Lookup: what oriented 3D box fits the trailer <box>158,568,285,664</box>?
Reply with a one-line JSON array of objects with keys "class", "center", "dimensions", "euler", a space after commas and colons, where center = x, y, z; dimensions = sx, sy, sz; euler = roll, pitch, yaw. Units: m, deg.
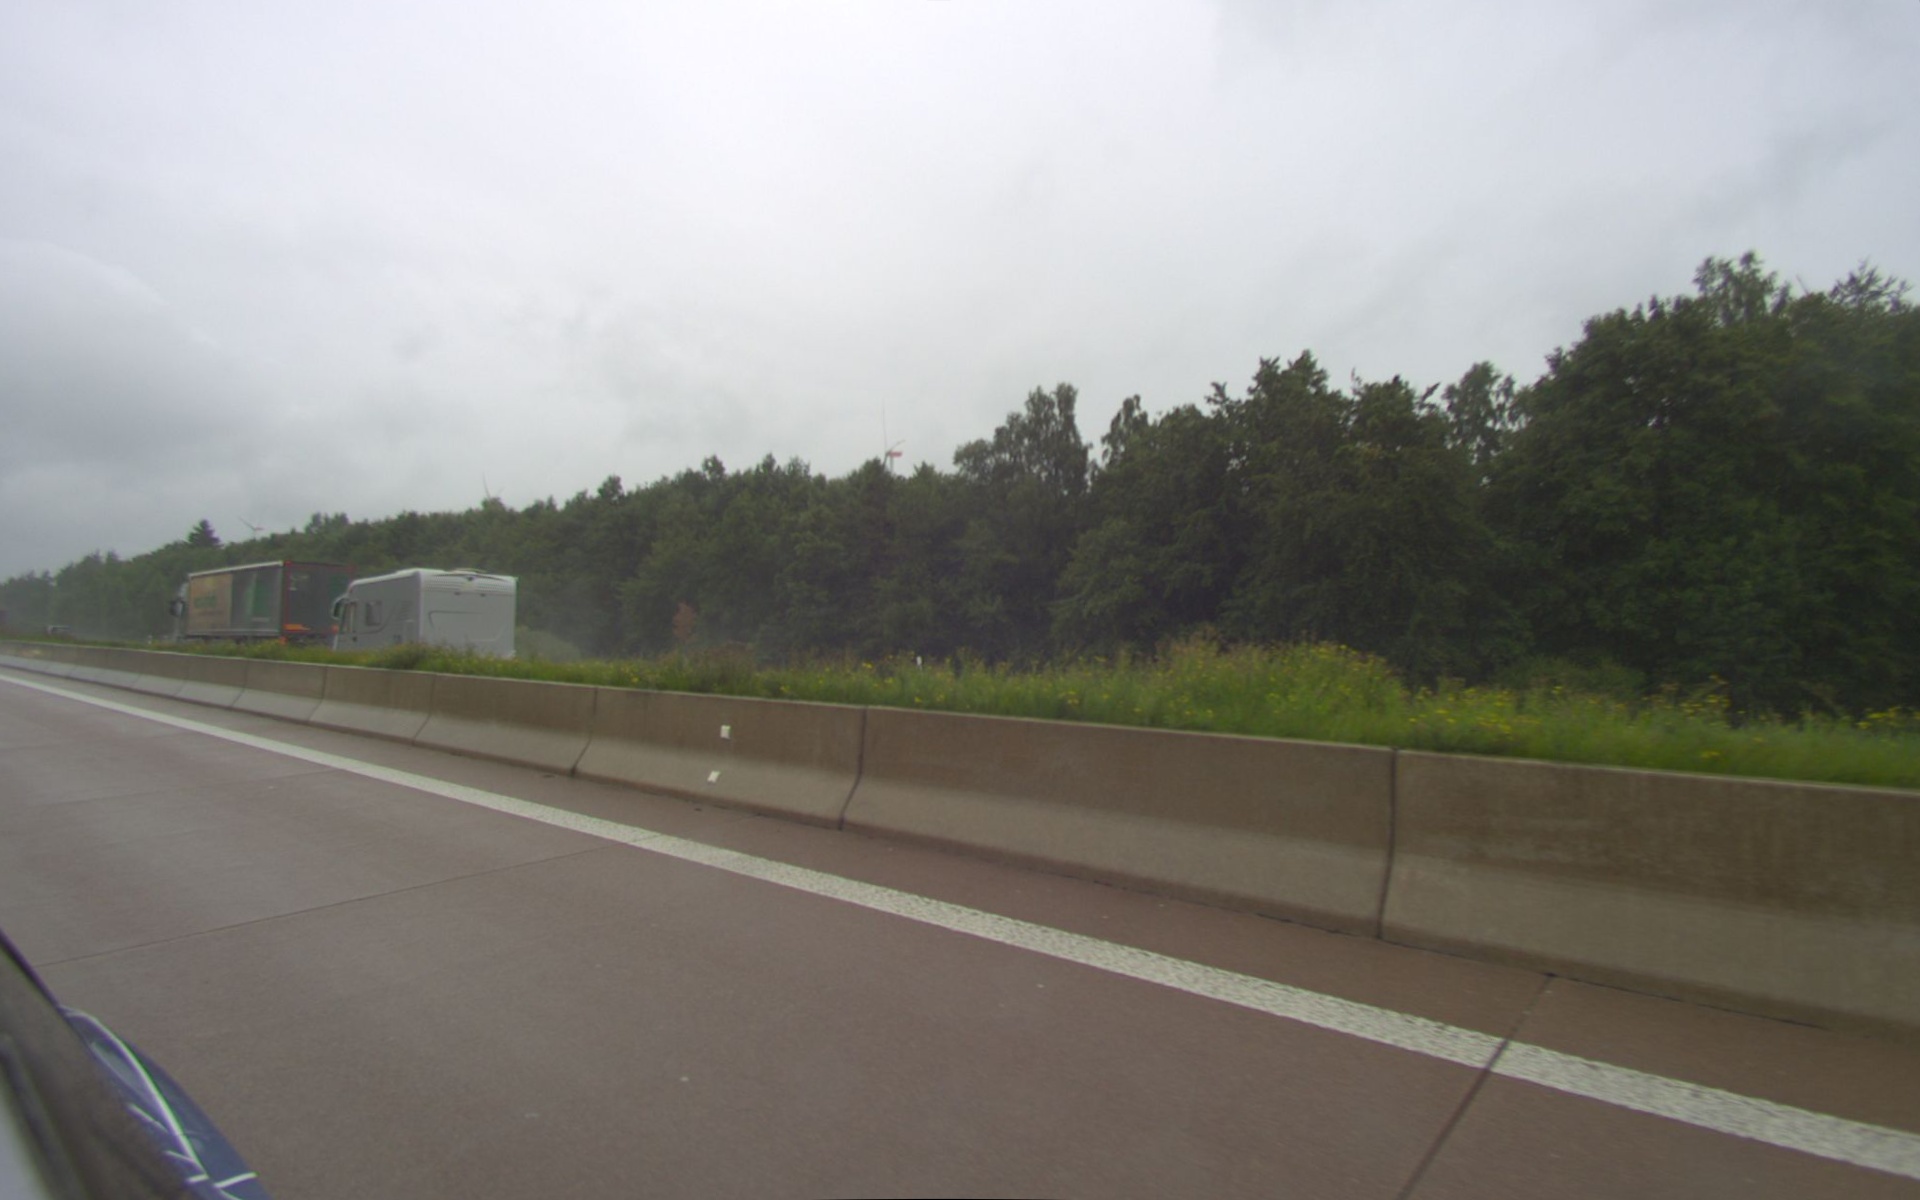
[{"class": "trailer", "center": [-46.841, 1.039, 63.886], "dimensions": [14.228, 5.482, 3.395], "euler": [-1, -1, 41]}]

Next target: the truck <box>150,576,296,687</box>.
[{"class": "truck", "center": [-36.717, 1.485, 50.301], "dimensions": [8.946, 5.052, 3.885], "euler": [-1, 0, 40]}]

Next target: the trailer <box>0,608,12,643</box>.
[{"class": "trailer", "center": [-129.853, 3.432, 135.079], "dimensions": [12.438, 4.500, 3.394], "euler": [-3, -4, 41]}]

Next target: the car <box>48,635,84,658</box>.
[{"class": "car", "center": [-60.640, 3.133, 68.634], "dimensions": [3.082, 1.367, 1.401], "euler": [-2, 1, 41]}]

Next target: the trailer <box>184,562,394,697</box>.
[{"class": "trailer", "center": [-29.732, 1.207, 44.342], "dimensions": [14.227, 5.097, 3.950], "euler": [-1, 0, 41]}]

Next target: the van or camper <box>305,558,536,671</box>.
[{"class": "van or camper", "center": [-13.609, 0.343, 25.315], "dimensions": [6.483, 2.423, 2.763], "euler": [-1, 2, 40]}]
